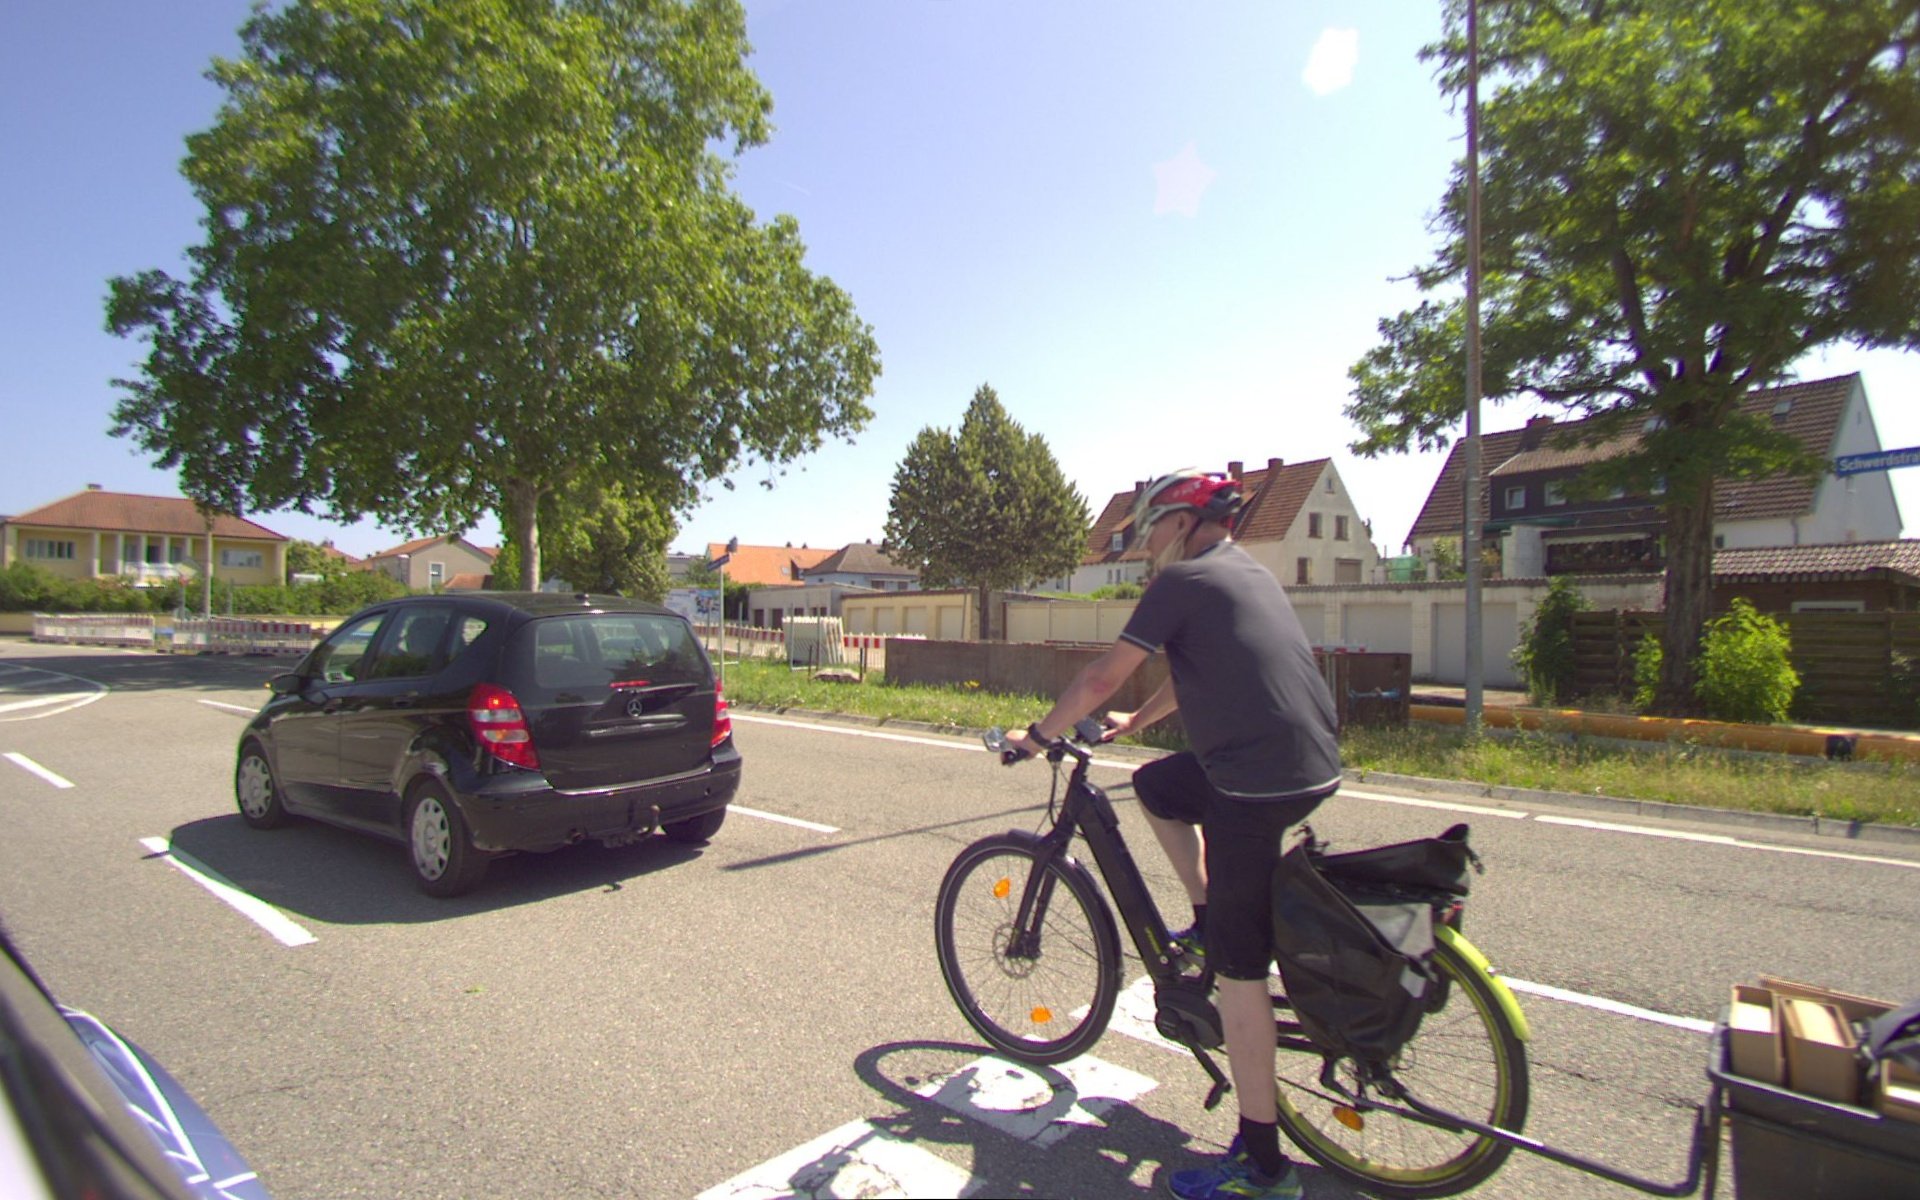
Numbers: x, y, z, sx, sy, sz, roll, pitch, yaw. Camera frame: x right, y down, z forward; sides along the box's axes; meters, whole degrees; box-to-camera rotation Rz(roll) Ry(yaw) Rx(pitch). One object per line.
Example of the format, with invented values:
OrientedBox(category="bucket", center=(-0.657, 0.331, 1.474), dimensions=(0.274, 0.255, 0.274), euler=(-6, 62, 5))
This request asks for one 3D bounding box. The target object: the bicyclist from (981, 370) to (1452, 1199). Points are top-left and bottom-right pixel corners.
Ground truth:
OrientedBox(category="bicyclist", center=(0.701, 0.463, 2.759), dimensions=(0.976, 1.880, 0.837), euler=(0, -1, 41))

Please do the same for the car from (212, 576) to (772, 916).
OrientedBox(category="car", center=(-3.130, 0.669, 6.463), dimensions=(3.825, 1.544, 1.709), euler=(0, 0, 38))

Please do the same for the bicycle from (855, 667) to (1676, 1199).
OrientedBox(category="bicycle", center=(0.698, 0.826, 2.757), dimensions=(1.976, 1.175, 0.841), euler=(0, -1, 41))

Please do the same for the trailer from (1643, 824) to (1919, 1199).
OrientedBox(category="trailer", center=(1.936, 0.962, 1.805), dimensions=(1.132, 0.862, 0.564), euler=(0, 0, 41))
